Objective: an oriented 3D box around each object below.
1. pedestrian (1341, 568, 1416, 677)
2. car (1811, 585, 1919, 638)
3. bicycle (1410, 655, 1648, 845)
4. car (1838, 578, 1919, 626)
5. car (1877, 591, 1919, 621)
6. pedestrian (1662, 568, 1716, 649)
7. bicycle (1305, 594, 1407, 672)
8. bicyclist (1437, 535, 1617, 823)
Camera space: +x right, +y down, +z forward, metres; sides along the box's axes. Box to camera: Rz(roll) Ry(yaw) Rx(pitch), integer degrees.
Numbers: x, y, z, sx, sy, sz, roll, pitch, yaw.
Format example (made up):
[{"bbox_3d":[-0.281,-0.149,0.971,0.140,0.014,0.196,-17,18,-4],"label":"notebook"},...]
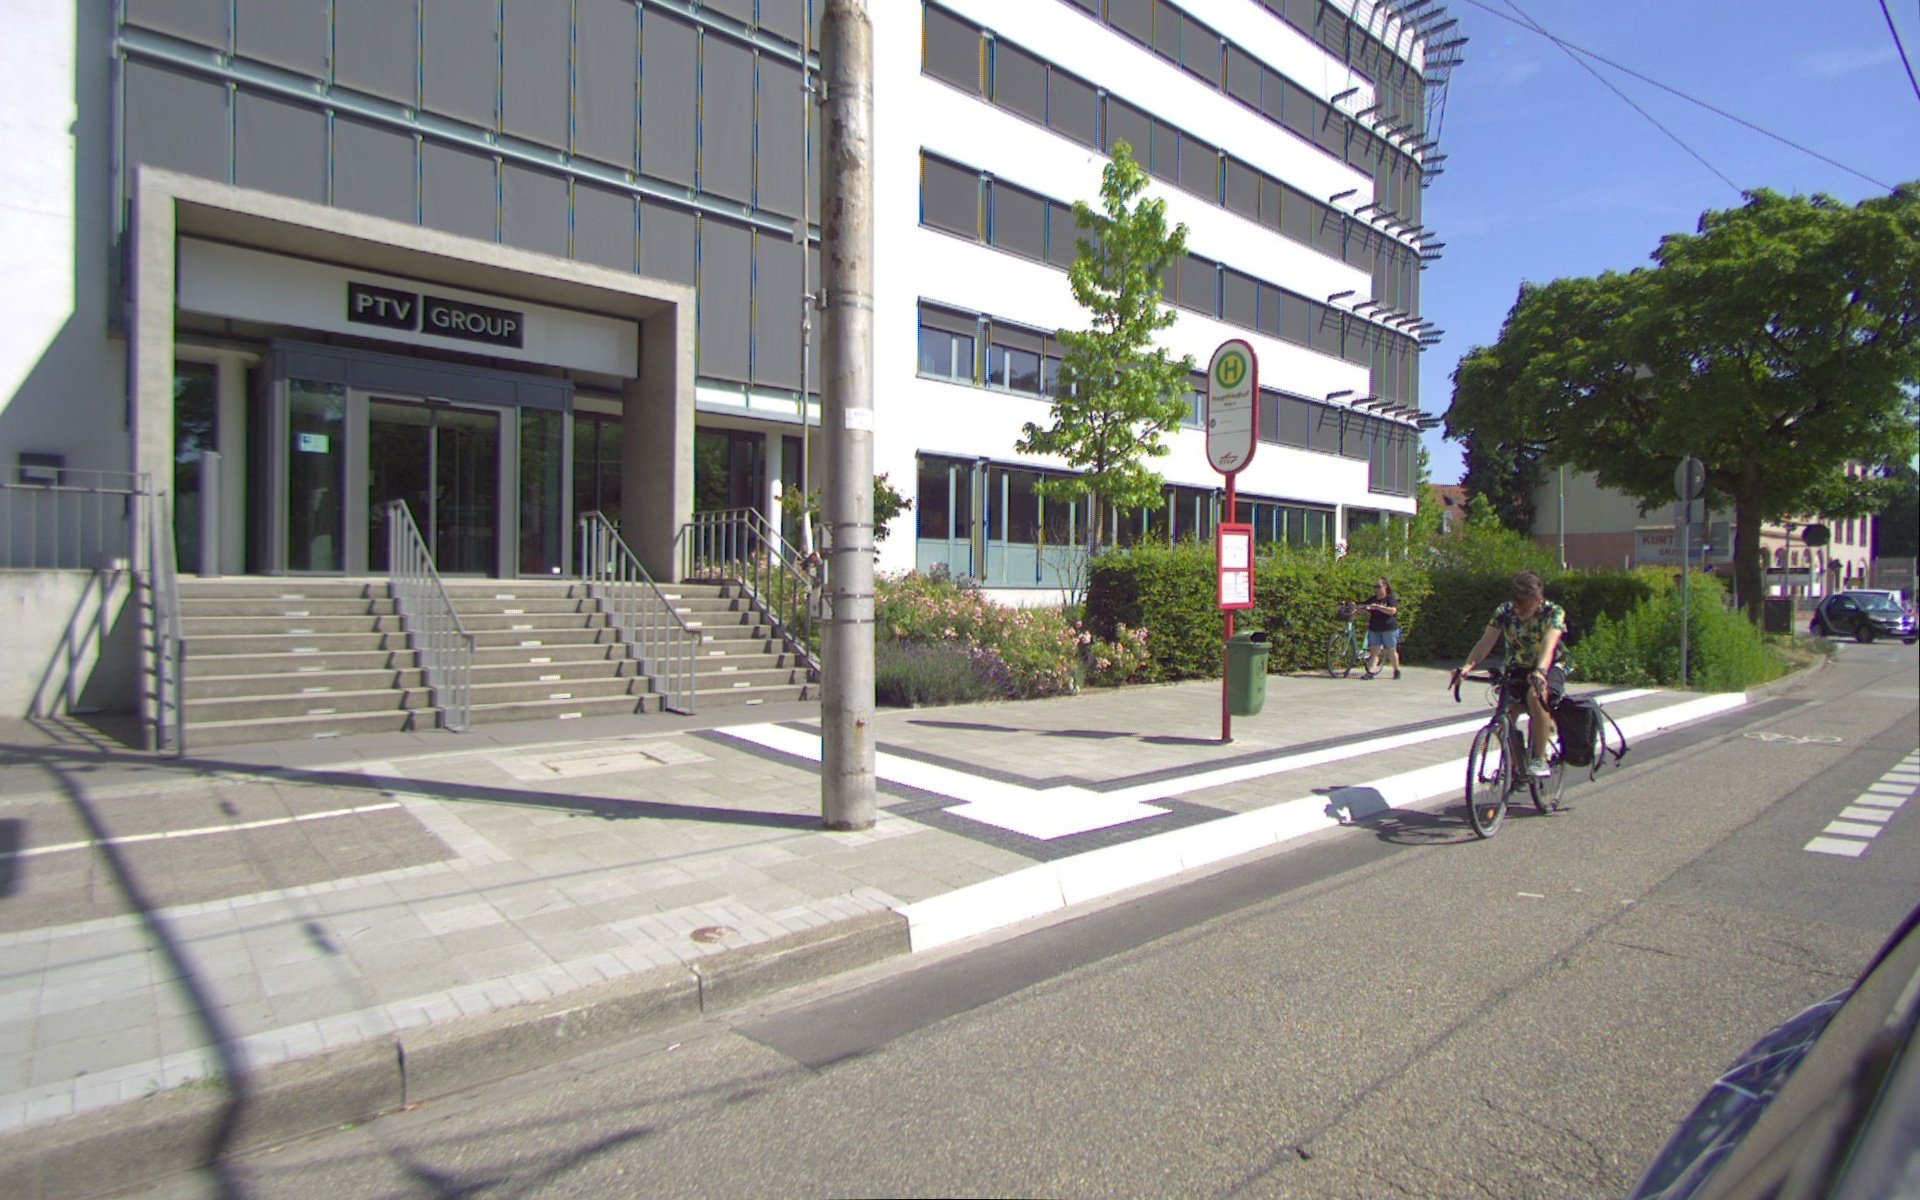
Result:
[{"bbox_3d":[6.341,0.317,15.317,0.686,1.582,0.973,3,2,45],"label":"pedestrian"},{"bbox_3d":[28.947,0.338,32.092,1.452,1.557,2.974,1,1,4],"label":"car"},{"bbox_3d":[3.871,0.924,6.801,2.124,0.996,0.610,0,0,-38],"label":"bicycle"},{"bbox_3d":[41.987,0.074,46.160,4.820,2.038,2.089,0,2,-39],"label":"car"},{"bbox_3d":[46.852,0.263,50.055,3.930,1.424,1.723,0,1,-40],"label":"car"},{"bbox_3d":[17.022,0.186,23.634,0.889,1.841,1.057,1,1,43],"label":"pedestrian"},{"bbox_3d":[6.162,0.479,15.691,2.031,1.131,0.637,0,1,-42],"label":"bicycle"},{"bbox_3d":[3.761,0.471,6.708,0.970,1.746,0.718,0,0,-38],"label":"bicyclist"}]
